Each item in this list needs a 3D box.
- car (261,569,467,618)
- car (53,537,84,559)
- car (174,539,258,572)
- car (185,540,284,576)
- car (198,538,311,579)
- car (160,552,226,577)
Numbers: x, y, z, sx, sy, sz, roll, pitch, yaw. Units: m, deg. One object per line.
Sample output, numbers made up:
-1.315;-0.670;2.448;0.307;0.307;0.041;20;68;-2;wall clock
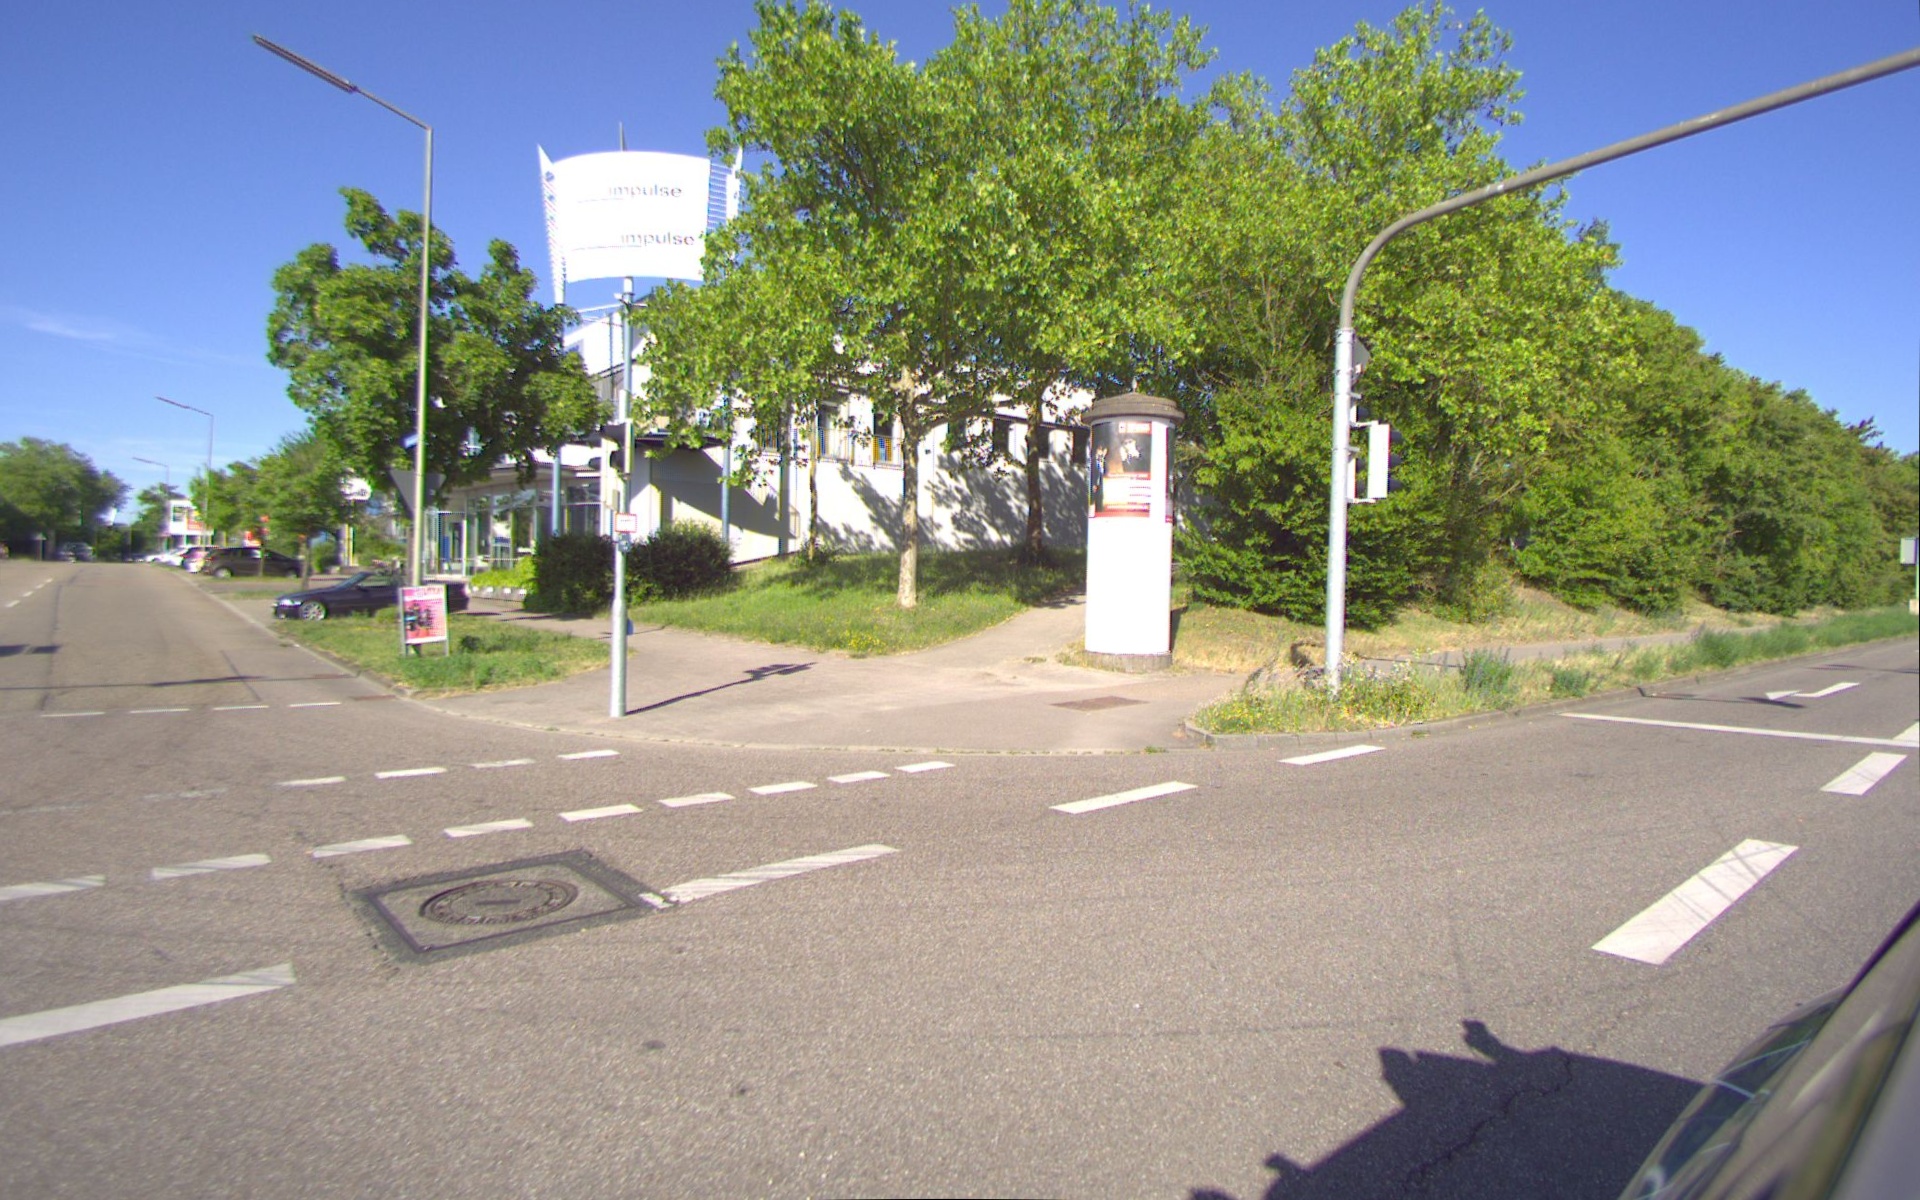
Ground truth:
-15.078;-0.206;25.756;4.288;1.137;1.719;-1;2;-42;car
-88.883;-5.145;100.907;1.671;2.039;4.002;-1;0;-33;car
-48.250;-2.848;65.653;4.286;2.043;1.720;-1;2;-41;car
-39.726;-2.296;55.501;4.286;1.858;1.720;-1;2;-41;car
-33.756;-1.959;48.507;4.287;1.859;1.720;-1;2;-41;car
-60.973;-2.797;80.489;4.078;1.874;1.720;-1;2;-41;car
